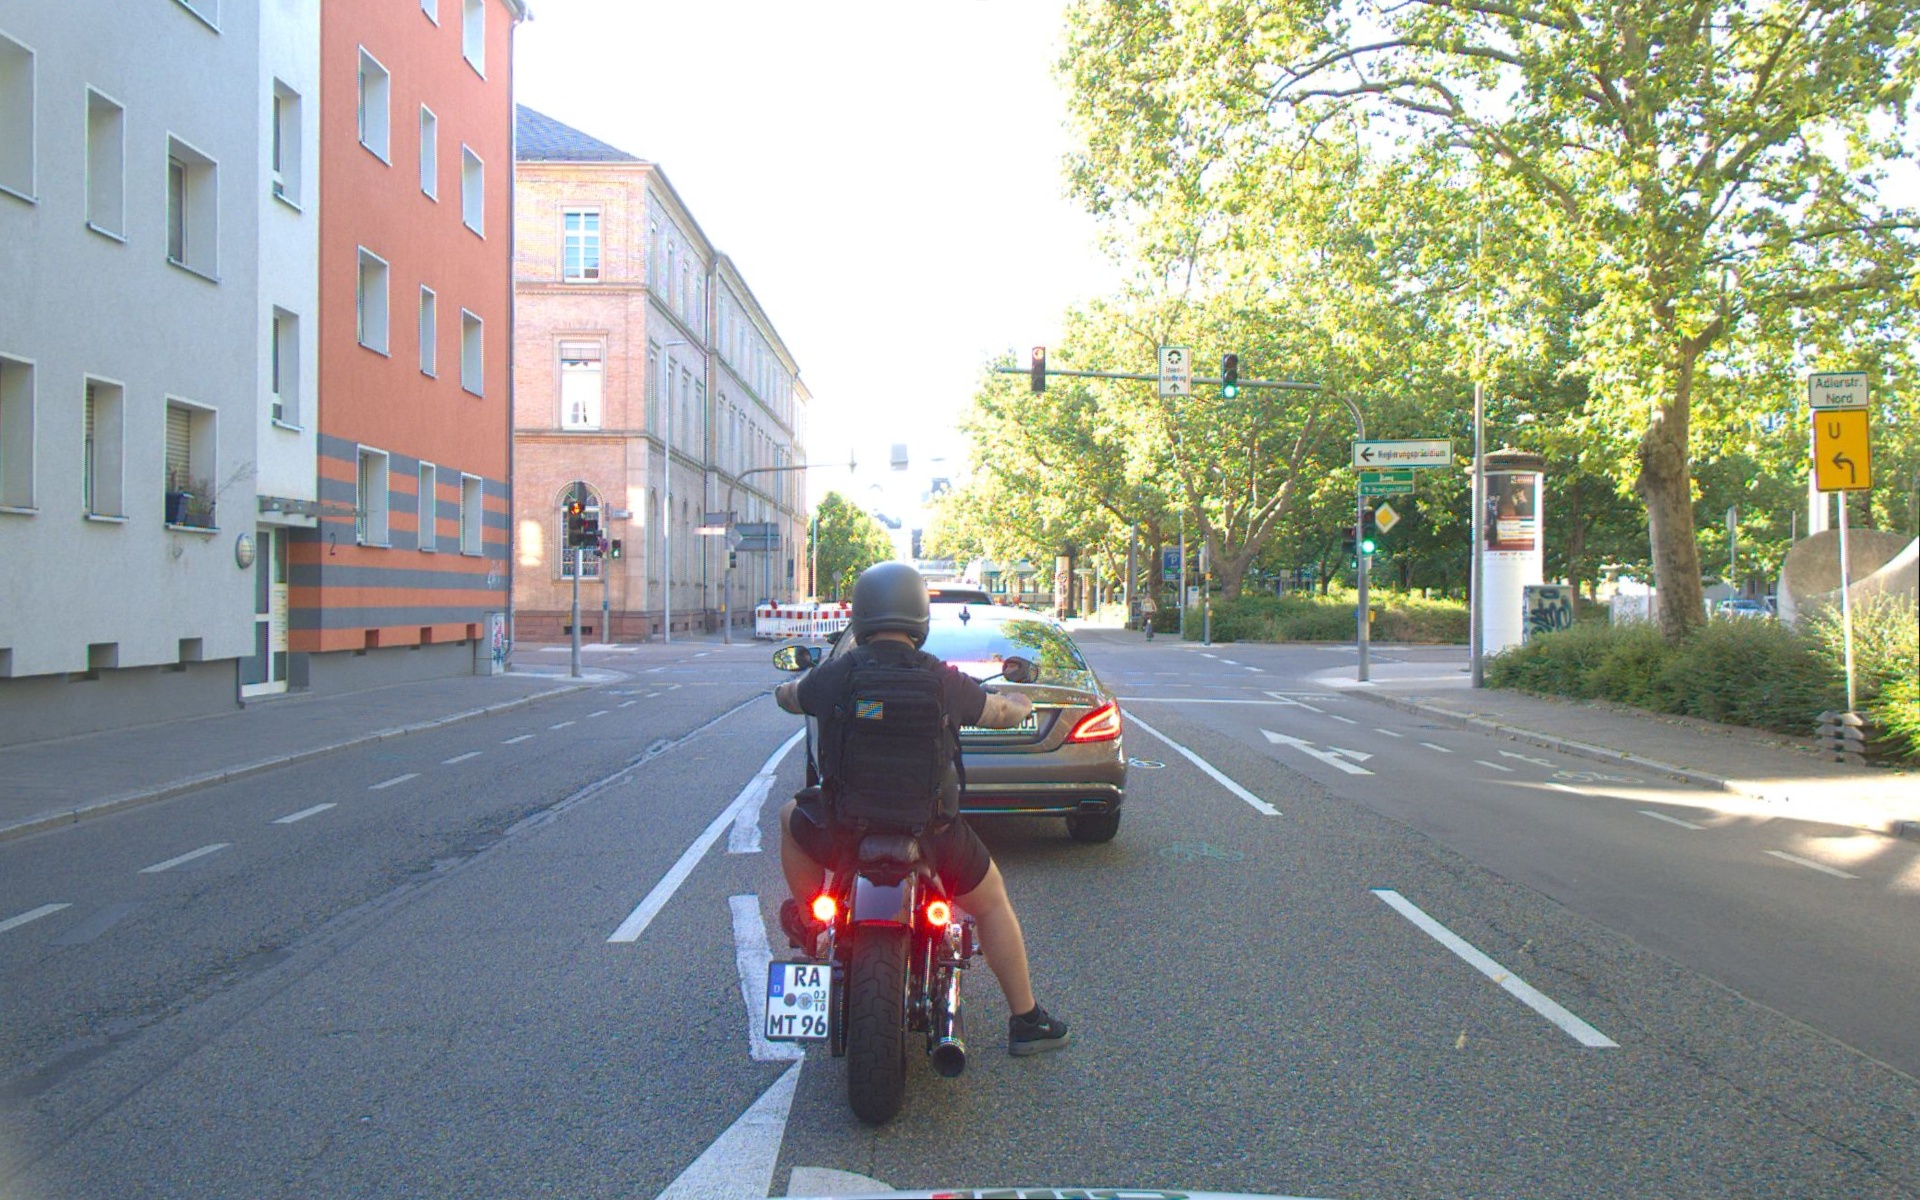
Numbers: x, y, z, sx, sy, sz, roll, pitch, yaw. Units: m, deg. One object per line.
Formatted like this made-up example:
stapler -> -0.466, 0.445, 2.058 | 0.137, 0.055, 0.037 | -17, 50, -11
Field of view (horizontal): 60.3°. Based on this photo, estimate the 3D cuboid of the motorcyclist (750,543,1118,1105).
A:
motorcyclist -> -0.079, 0.651, 5.246 | 1.039, 1.610, 0.908 | 1, 0, -1

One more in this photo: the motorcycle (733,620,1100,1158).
motorcycle -> -0.130, 0.776, 5.515 | 0.942, 1.380, 2.319 | 1, 0, -1

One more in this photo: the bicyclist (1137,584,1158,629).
bicyclist -> 6.876, 0.242, 60.719 | 0.701, 1.610, 0.936 | 1, 0, 2

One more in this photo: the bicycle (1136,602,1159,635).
bicycle -> 6.876, 0.676, 60.659 | 0.701, 1.193, 2.177 | 1, 0, 3

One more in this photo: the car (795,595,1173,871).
car -> -0.062, 0.702, 11.070 | 1.867, 1.466, 4.280 | 0, 0, -9

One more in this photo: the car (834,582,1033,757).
car -> -0.344, 0.611, 16.745 | 1.777, 1.563, 3.846 | 0, 0, -3
